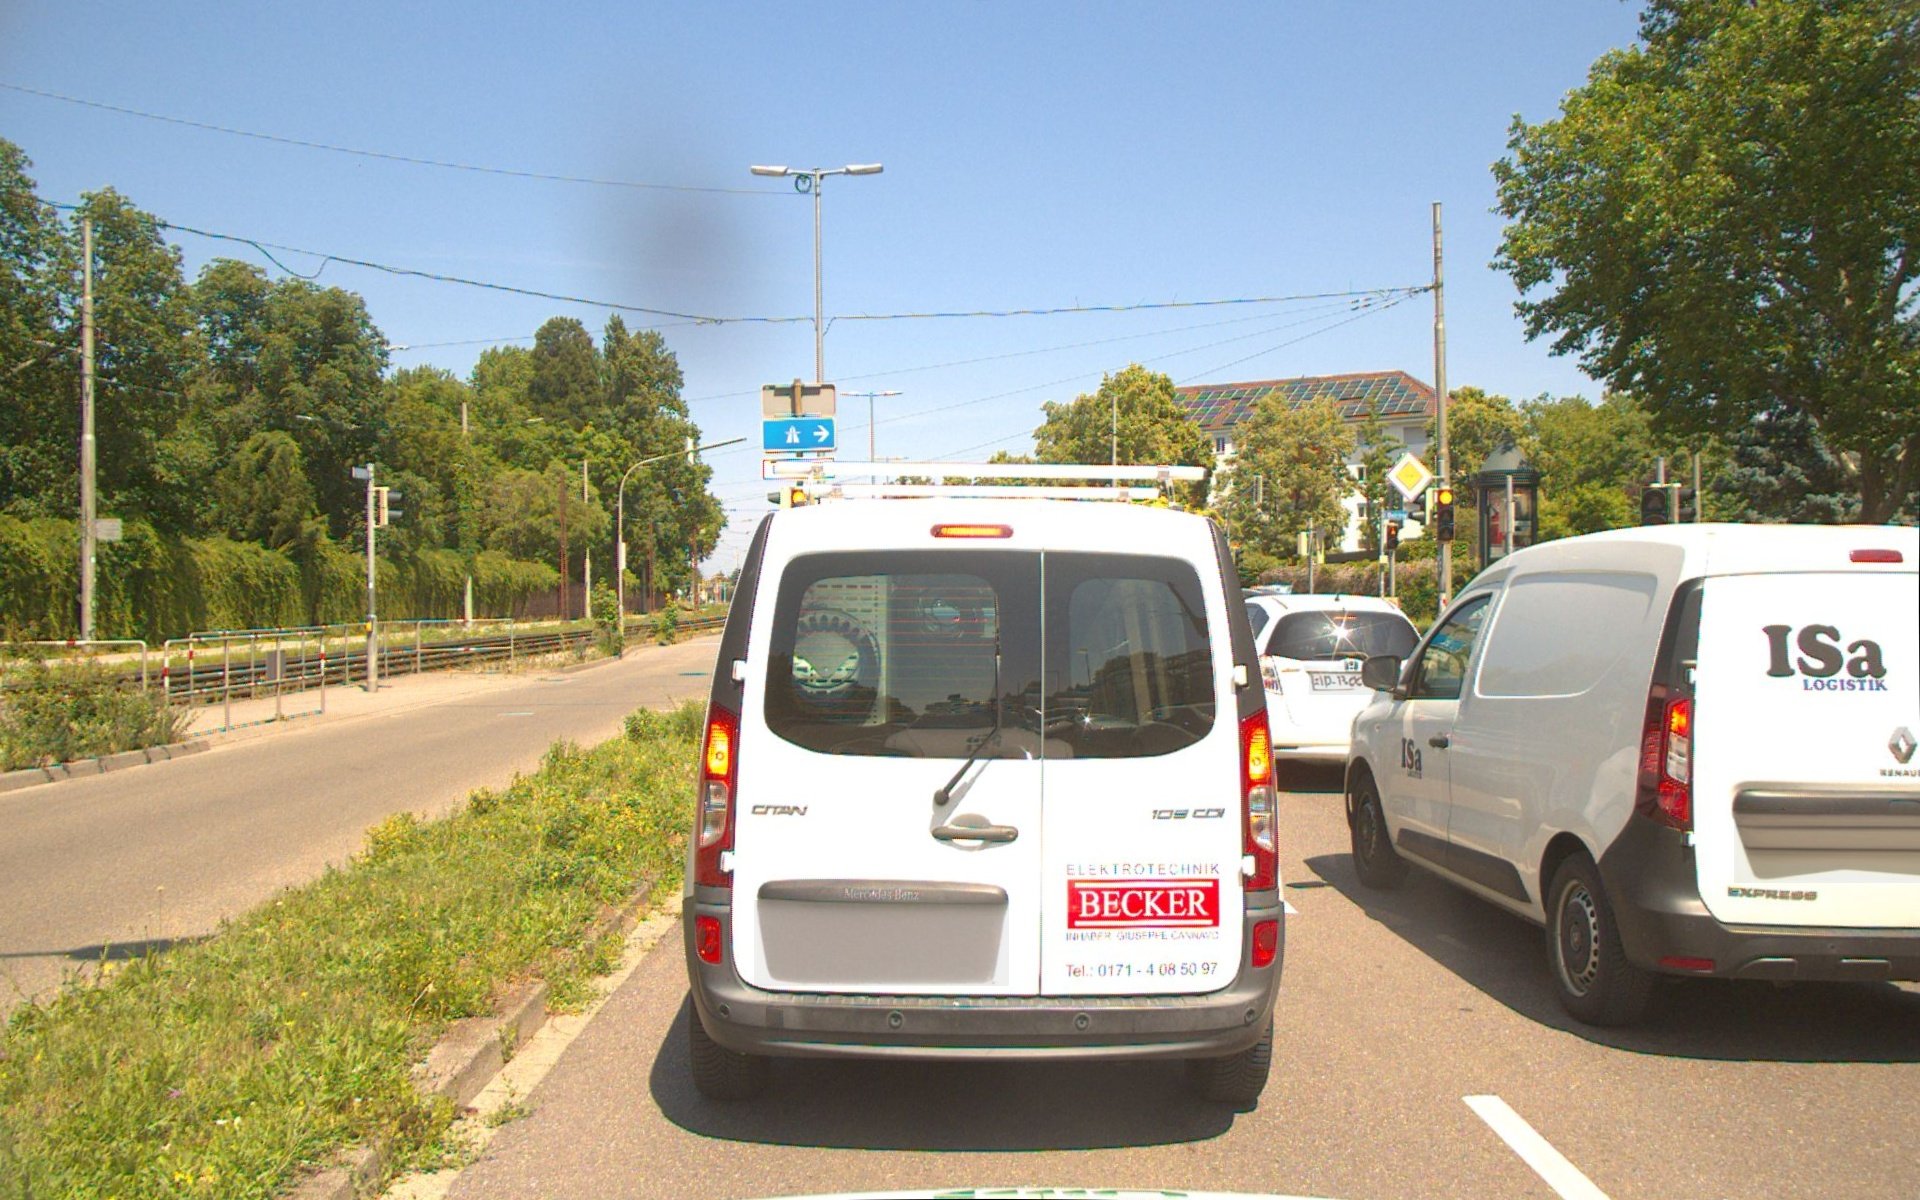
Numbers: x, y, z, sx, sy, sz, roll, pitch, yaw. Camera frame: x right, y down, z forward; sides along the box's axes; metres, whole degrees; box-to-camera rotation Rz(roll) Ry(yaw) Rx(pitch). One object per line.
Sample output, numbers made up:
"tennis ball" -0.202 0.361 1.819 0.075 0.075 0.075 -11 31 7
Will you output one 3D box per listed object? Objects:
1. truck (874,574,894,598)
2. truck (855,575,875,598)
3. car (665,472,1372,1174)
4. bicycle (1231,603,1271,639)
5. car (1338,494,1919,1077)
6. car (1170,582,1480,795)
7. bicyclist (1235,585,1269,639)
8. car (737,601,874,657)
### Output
"truck" -8.541 -1.544 186.562 2.095 2.633 5.888 1 0 -1
"truck" -11.175 -1.551 195.646 2.095 2.633 5.888 1 0 -1
"car" 0.124 0.575 6.409 1.784 1.770 4.395 1 0 -1
"bicycle" 9.906 0.705 56.372 0.875 1.179 1.954 0 0 -5
"car" 3.029 0.592 7.245 1.693 1.819 4.063 1 0 -2
"car" 3.055 0.661 14.688 1.798 1.596 3.999 1 1 -1
"bicyclist" 9.944 0.411 56.351 0.954 1.819 0.725 0 0 -6
"car" -4.527 0.828 48.201 3.926 1.546 1.743 0 -1 41
